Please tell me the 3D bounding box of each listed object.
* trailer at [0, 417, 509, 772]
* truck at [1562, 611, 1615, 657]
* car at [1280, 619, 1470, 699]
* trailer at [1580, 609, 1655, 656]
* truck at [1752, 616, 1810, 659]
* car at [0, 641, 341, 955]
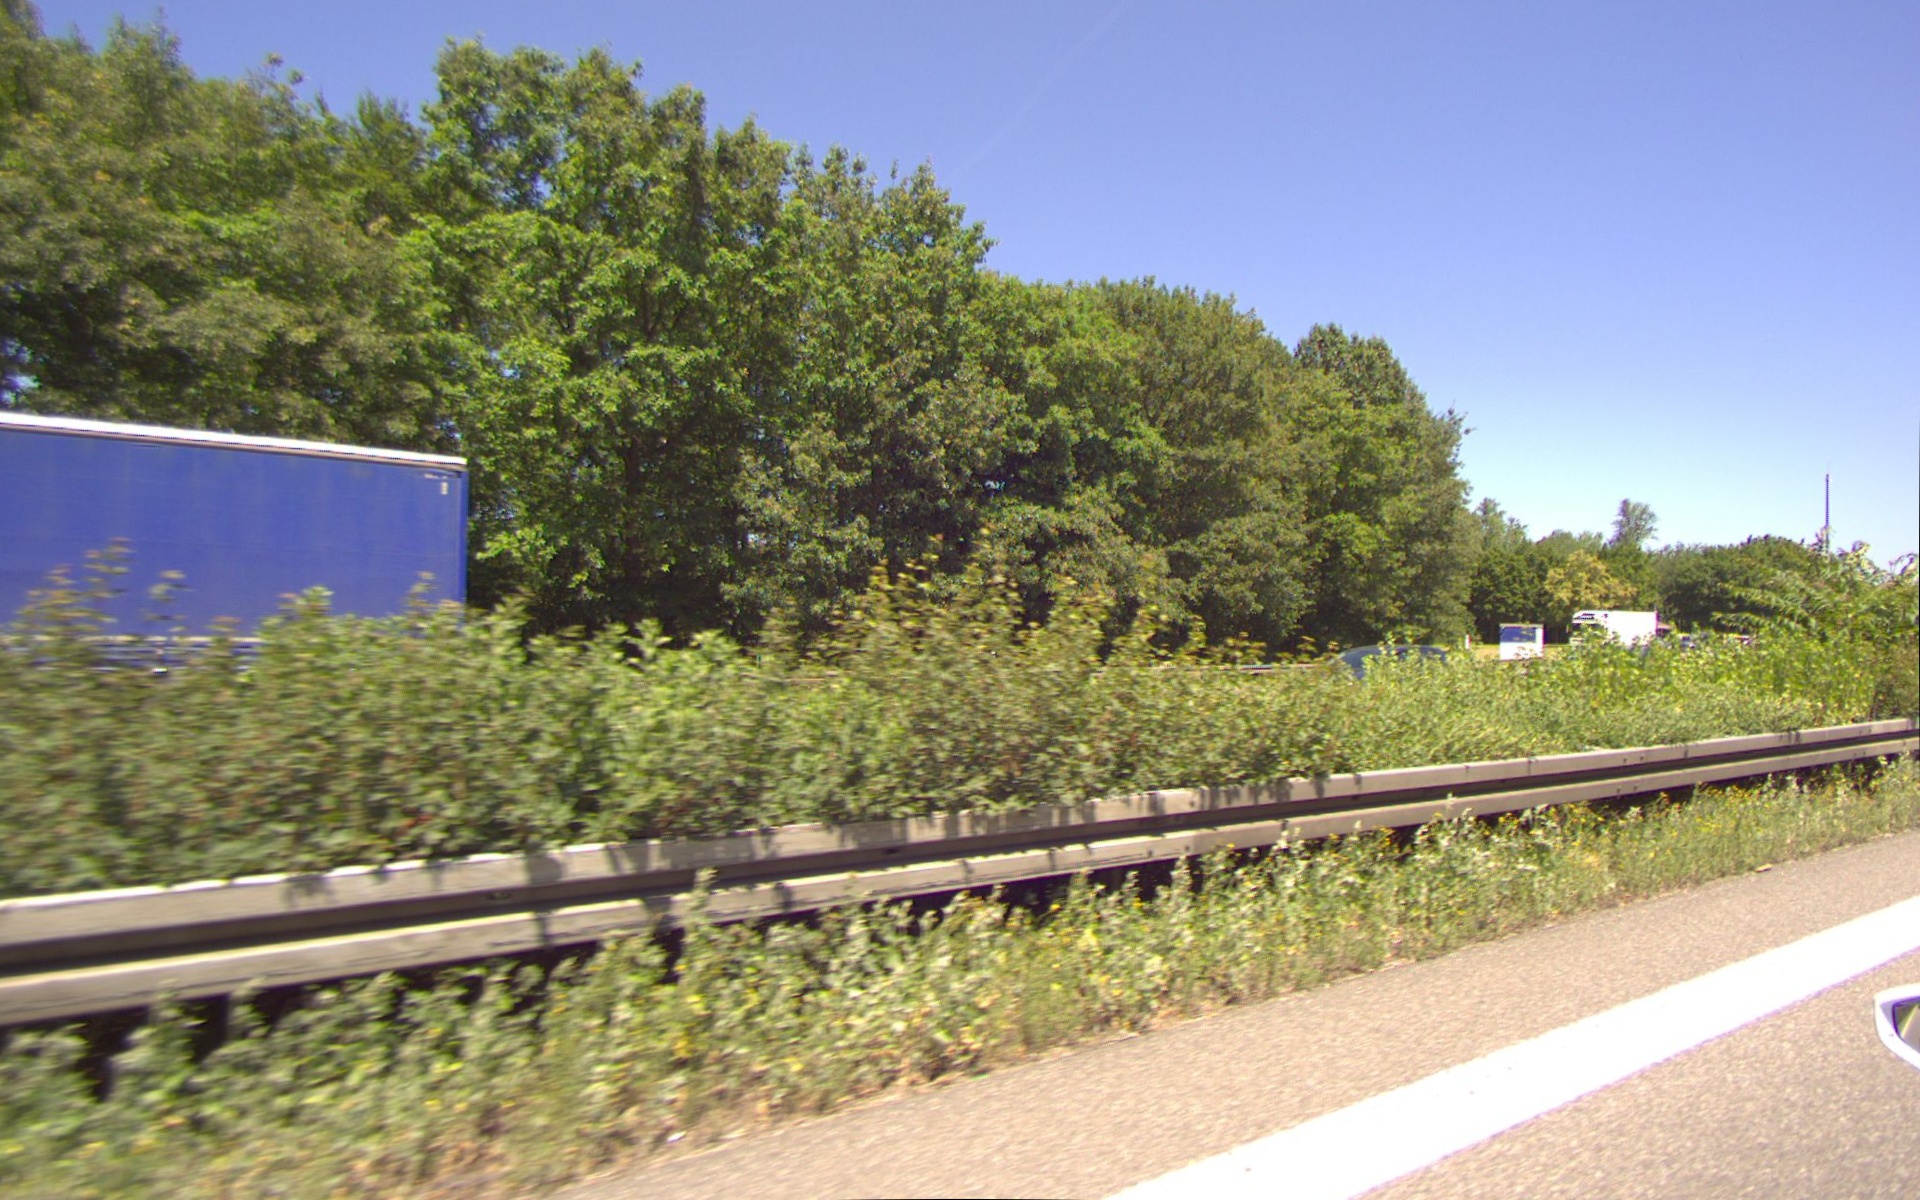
[{"bbox_3d":[-12.926,-0.088,11.762,13.658,4.023,2.827,2,-1,-33],"label":"trailer"},{"bbox_3d":[53.382,2.856,85.288,4.655,3.818,2.587,2,-2,-42],"label":"truck"},{"bbox_3d":[8.718,1.197,21.034,3.957,1.506,1.722,2,0,-33],"label":"car"},{"bbox_3d":[59.527,2.933,90.774,12.509,4.023,2.586,2,-2,-42],"label":"trailer"},{"bbox_3d":[80.870,3.670,98.832,9.916,4.023,2.588,2,-2,-40],"label":"truck"},{"bbox_3d":[-6.214,1.145,6.262,3.955,1.743,1.767,2,-1,-32],"label":"car"}]
